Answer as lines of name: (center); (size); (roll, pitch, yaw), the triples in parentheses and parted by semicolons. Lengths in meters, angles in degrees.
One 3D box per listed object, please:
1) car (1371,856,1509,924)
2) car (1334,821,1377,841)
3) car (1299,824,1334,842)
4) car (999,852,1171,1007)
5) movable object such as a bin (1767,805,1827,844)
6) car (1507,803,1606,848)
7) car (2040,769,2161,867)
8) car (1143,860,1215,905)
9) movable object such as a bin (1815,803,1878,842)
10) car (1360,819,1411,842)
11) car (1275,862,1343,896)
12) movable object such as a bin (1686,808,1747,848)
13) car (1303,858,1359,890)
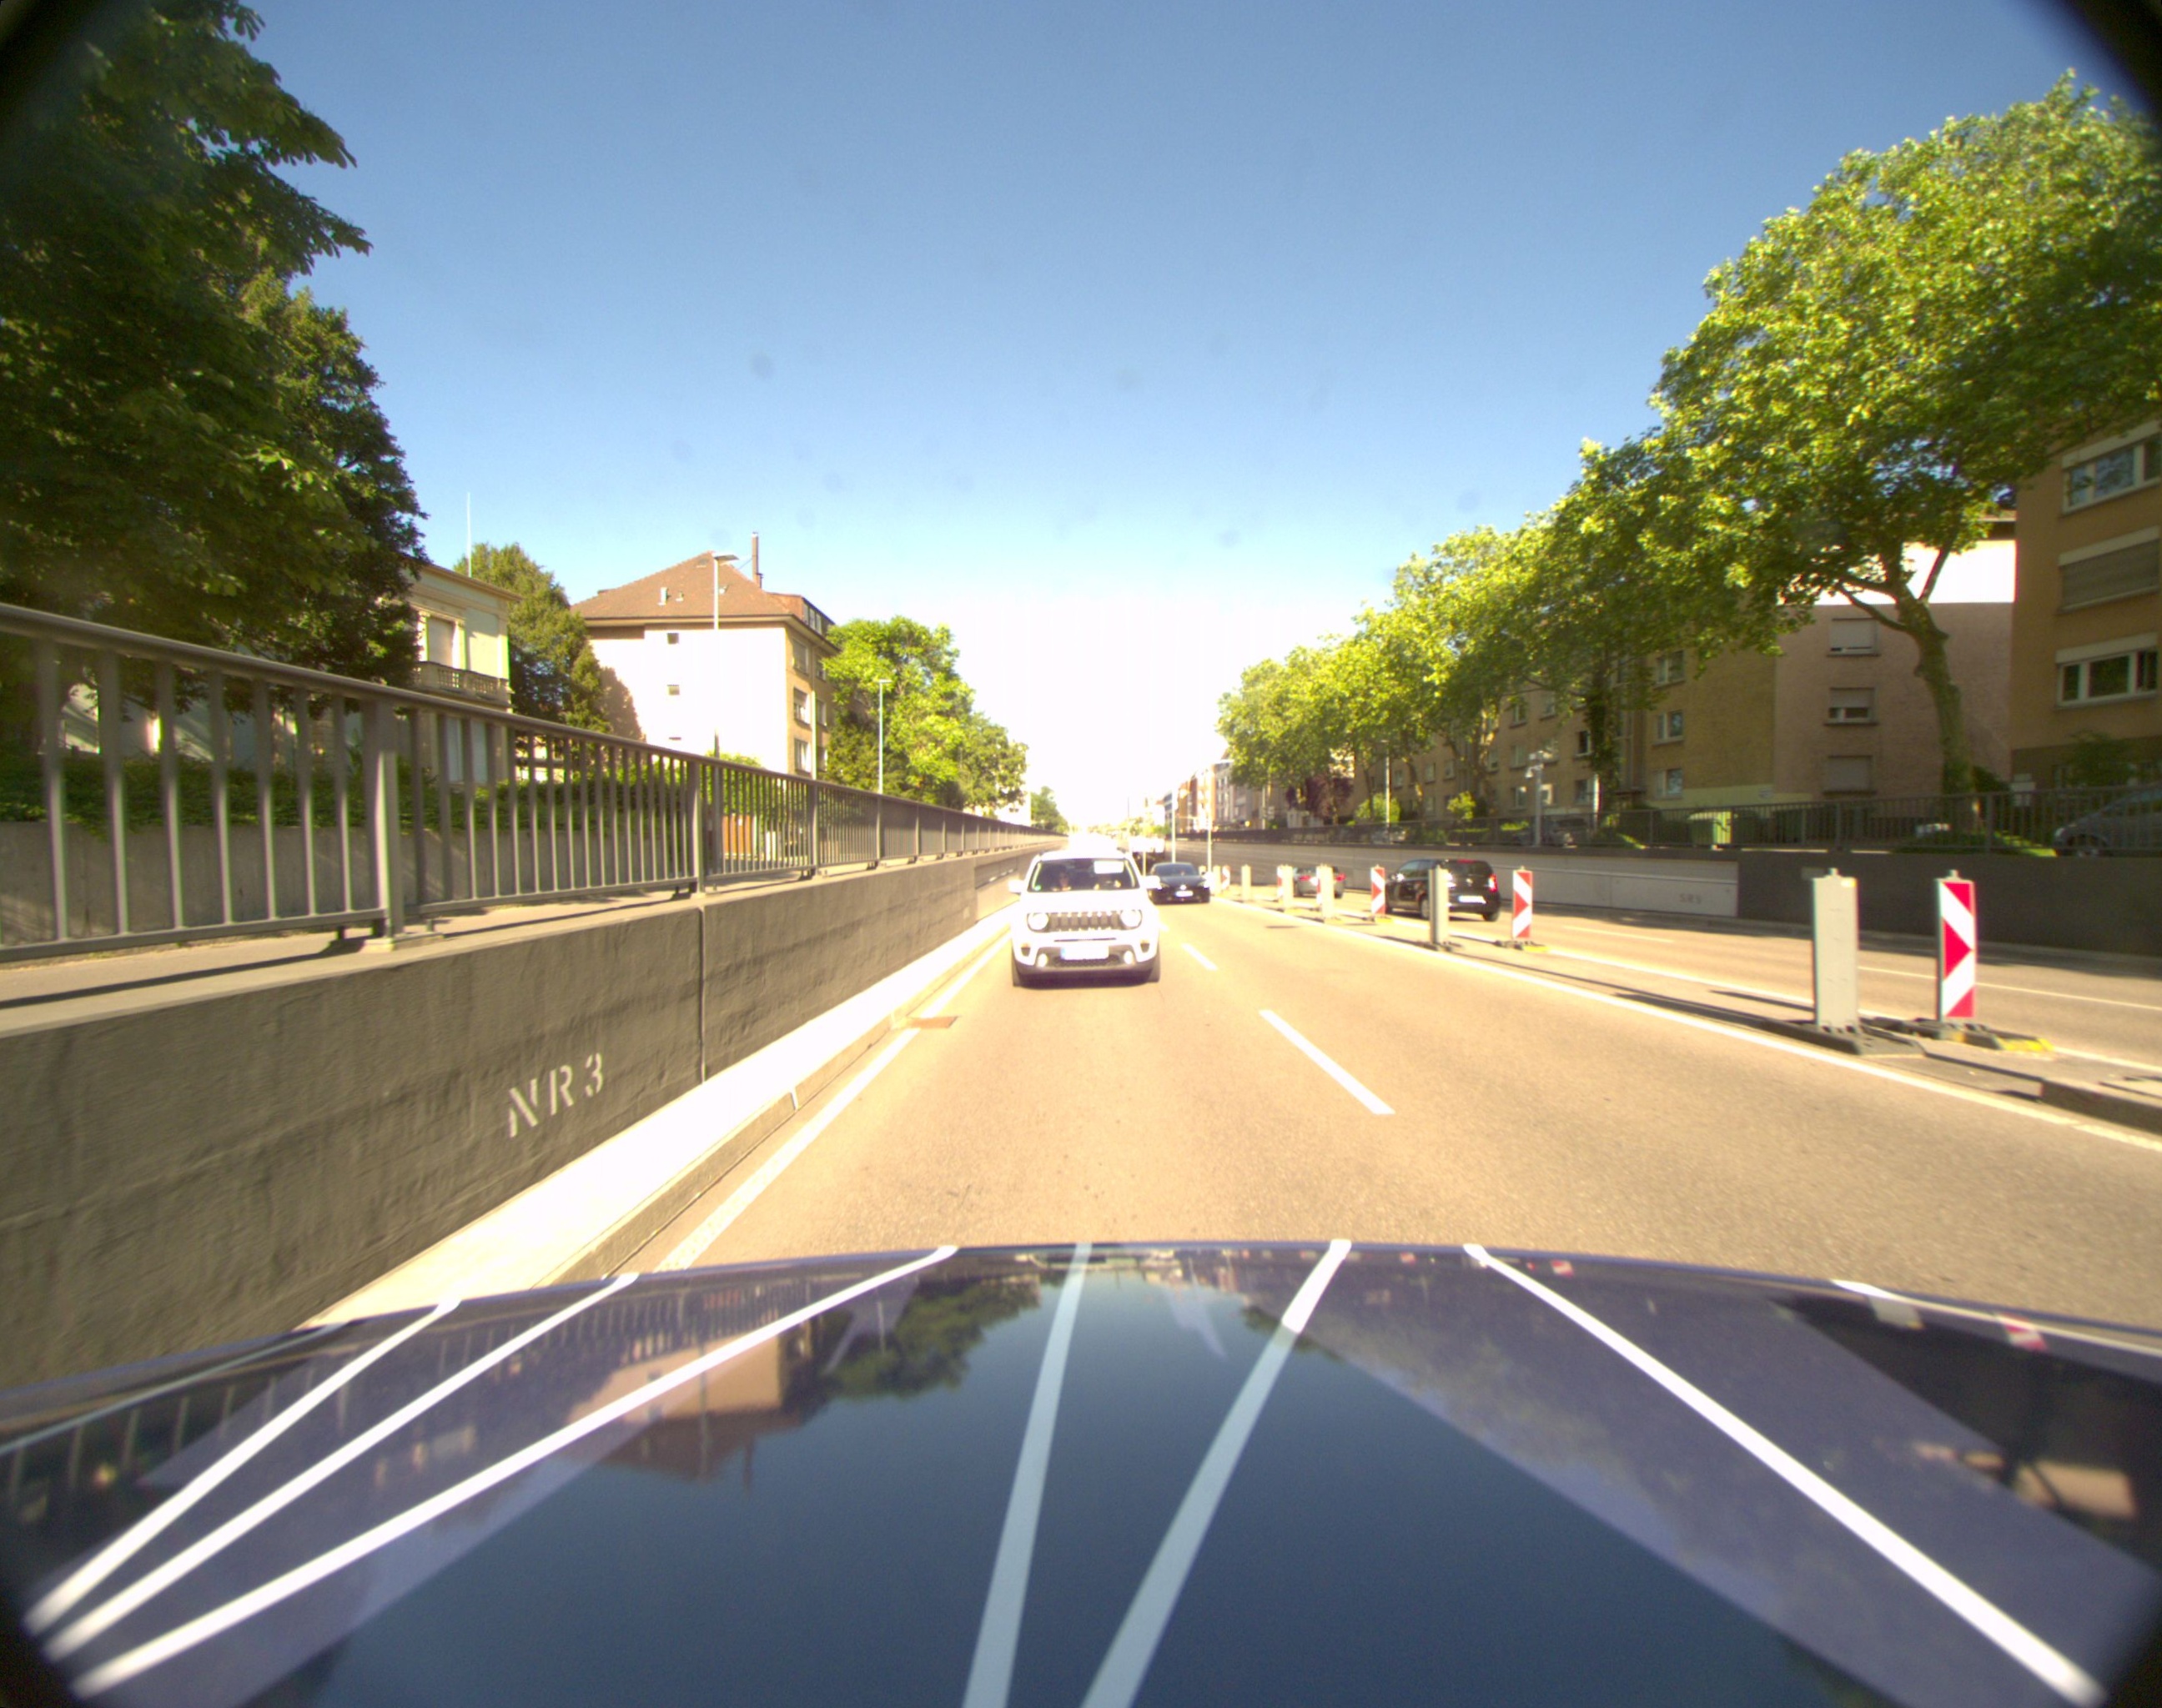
car: (8.567, 0.816, 18.472); (1.613, 1.449, 3.608); (1, -1, 0)
car: (23.277, -1.931, 64.568); (1.926, 1.575, 4.303); (-2, 1, -2)
car: (22.892, -2.047, 74.138); (1.926, 1.575, 4.303); (-2, 1, -2)
car: (0.059, 0.851, 10.468); (1.855, 1.658, 3.970); (-2, 0, 0)
movable object such as a bin: (28.702, -1.166, 30.496); (1.317, 1.475, 1.147); (-2, 1, -2)
car: (22.775, -1.341, 36.610); (1.970, 1.949, 4.413); (-2, 1, 0)
car: (22.559, -0.754, 14.799); (1.971, 1.949, 4.526); (-2, 1, -2)
car: (3.387, 0.947, 26.891); (1.998, 1.407, 4.000); (-2, 0, 0)
movable object such as a bin: (30.464, -1.246, 30.259); (1.317, 1.475, 1.147); (-2, 1, -2)
car: (22.556, -1.683, 56.422); (1.926, 1.575, 4.303); (-2, 1, -2)
car: (9.304, 0.985, 31.295); (1.542, 1.292, 3.928); (2, -1, 0)
movable object such as a bin: (25.056, -1.012, 29.976); (1.209, 1.475, 1.357); (-2, 1, -7)
car: (12.414, 0.953, 37.985); (1.542, 1.456, 3.717); (2, 0, 0)
